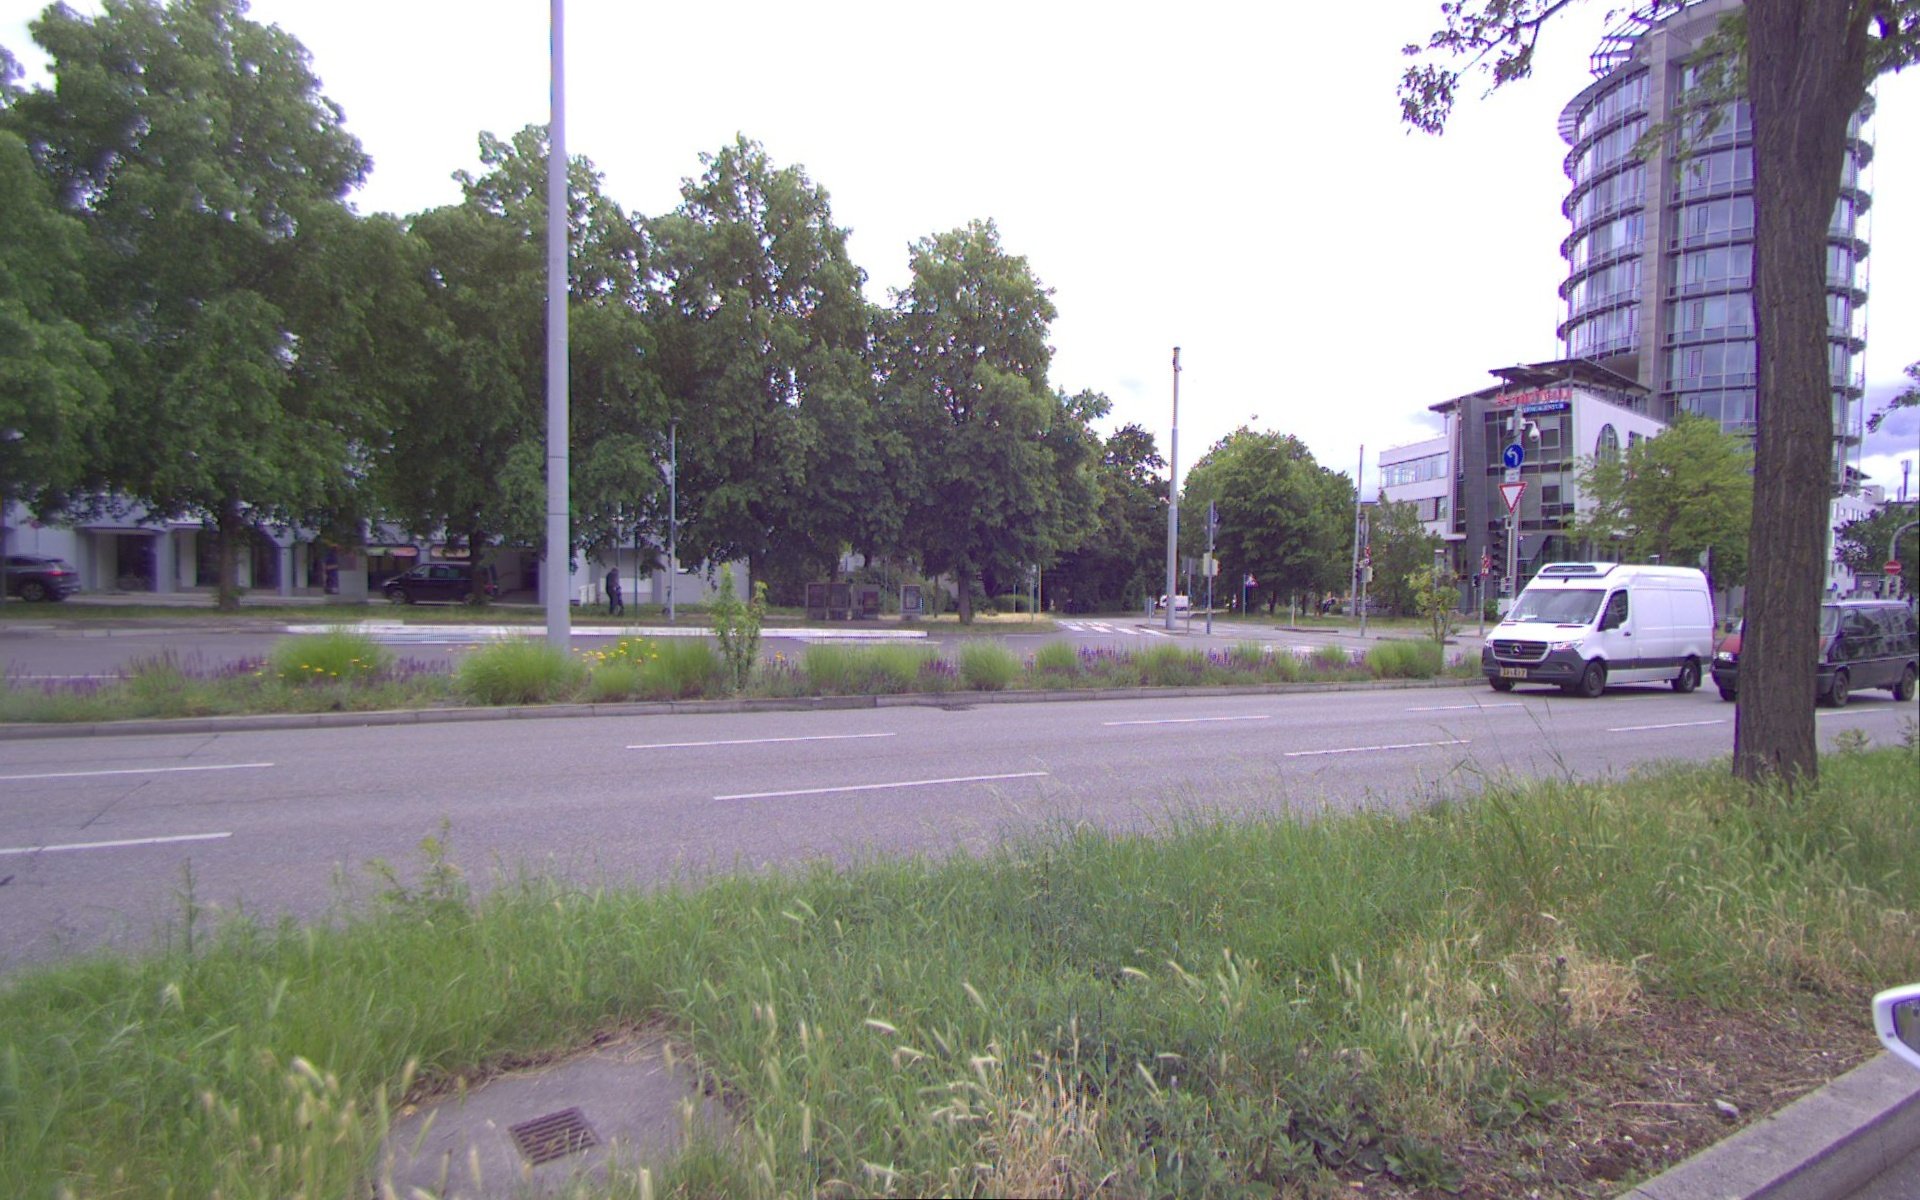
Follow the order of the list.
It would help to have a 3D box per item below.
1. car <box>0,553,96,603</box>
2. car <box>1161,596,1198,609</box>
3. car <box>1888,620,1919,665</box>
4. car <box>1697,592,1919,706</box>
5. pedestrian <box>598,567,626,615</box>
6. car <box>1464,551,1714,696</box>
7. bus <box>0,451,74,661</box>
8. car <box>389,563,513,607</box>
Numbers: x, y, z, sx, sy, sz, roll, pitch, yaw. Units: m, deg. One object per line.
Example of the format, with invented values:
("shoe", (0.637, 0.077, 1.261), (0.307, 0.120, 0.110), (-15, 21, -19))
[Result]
("car", (-31.944, -0.743, 33.609), (4.190, 1.602, 1.987), (1, 1, -25))
("car", (38.082, 0.410, 174.232), (5.881, 2.040, 1.995), (1, 1, -13))
("car", (32.351, 1.398, 32.994), (3.972, 1.438, 1.699), (1, 0, -31))
("car", (16.487, 0.883, 19.326), (4.915, 1.943, 1.926), (1, 0, -30))
("pedestrian", (-12.500, -0.323, 36.103), (0.847, 1.711, 0.453), (1, 1, -30))
("car", (13.088, 0.469, 20.761), (5.808, 2.669, 1.983), (1, 0, -31))
("bus", (-20.988, -0.905, 16.018), (9.778, 3.502, 3.021), (1, 2, -26))
("car", (-23.351, -0.658, 46.251), (4.736, 1.857, 1.994), (1, 1, -15))
